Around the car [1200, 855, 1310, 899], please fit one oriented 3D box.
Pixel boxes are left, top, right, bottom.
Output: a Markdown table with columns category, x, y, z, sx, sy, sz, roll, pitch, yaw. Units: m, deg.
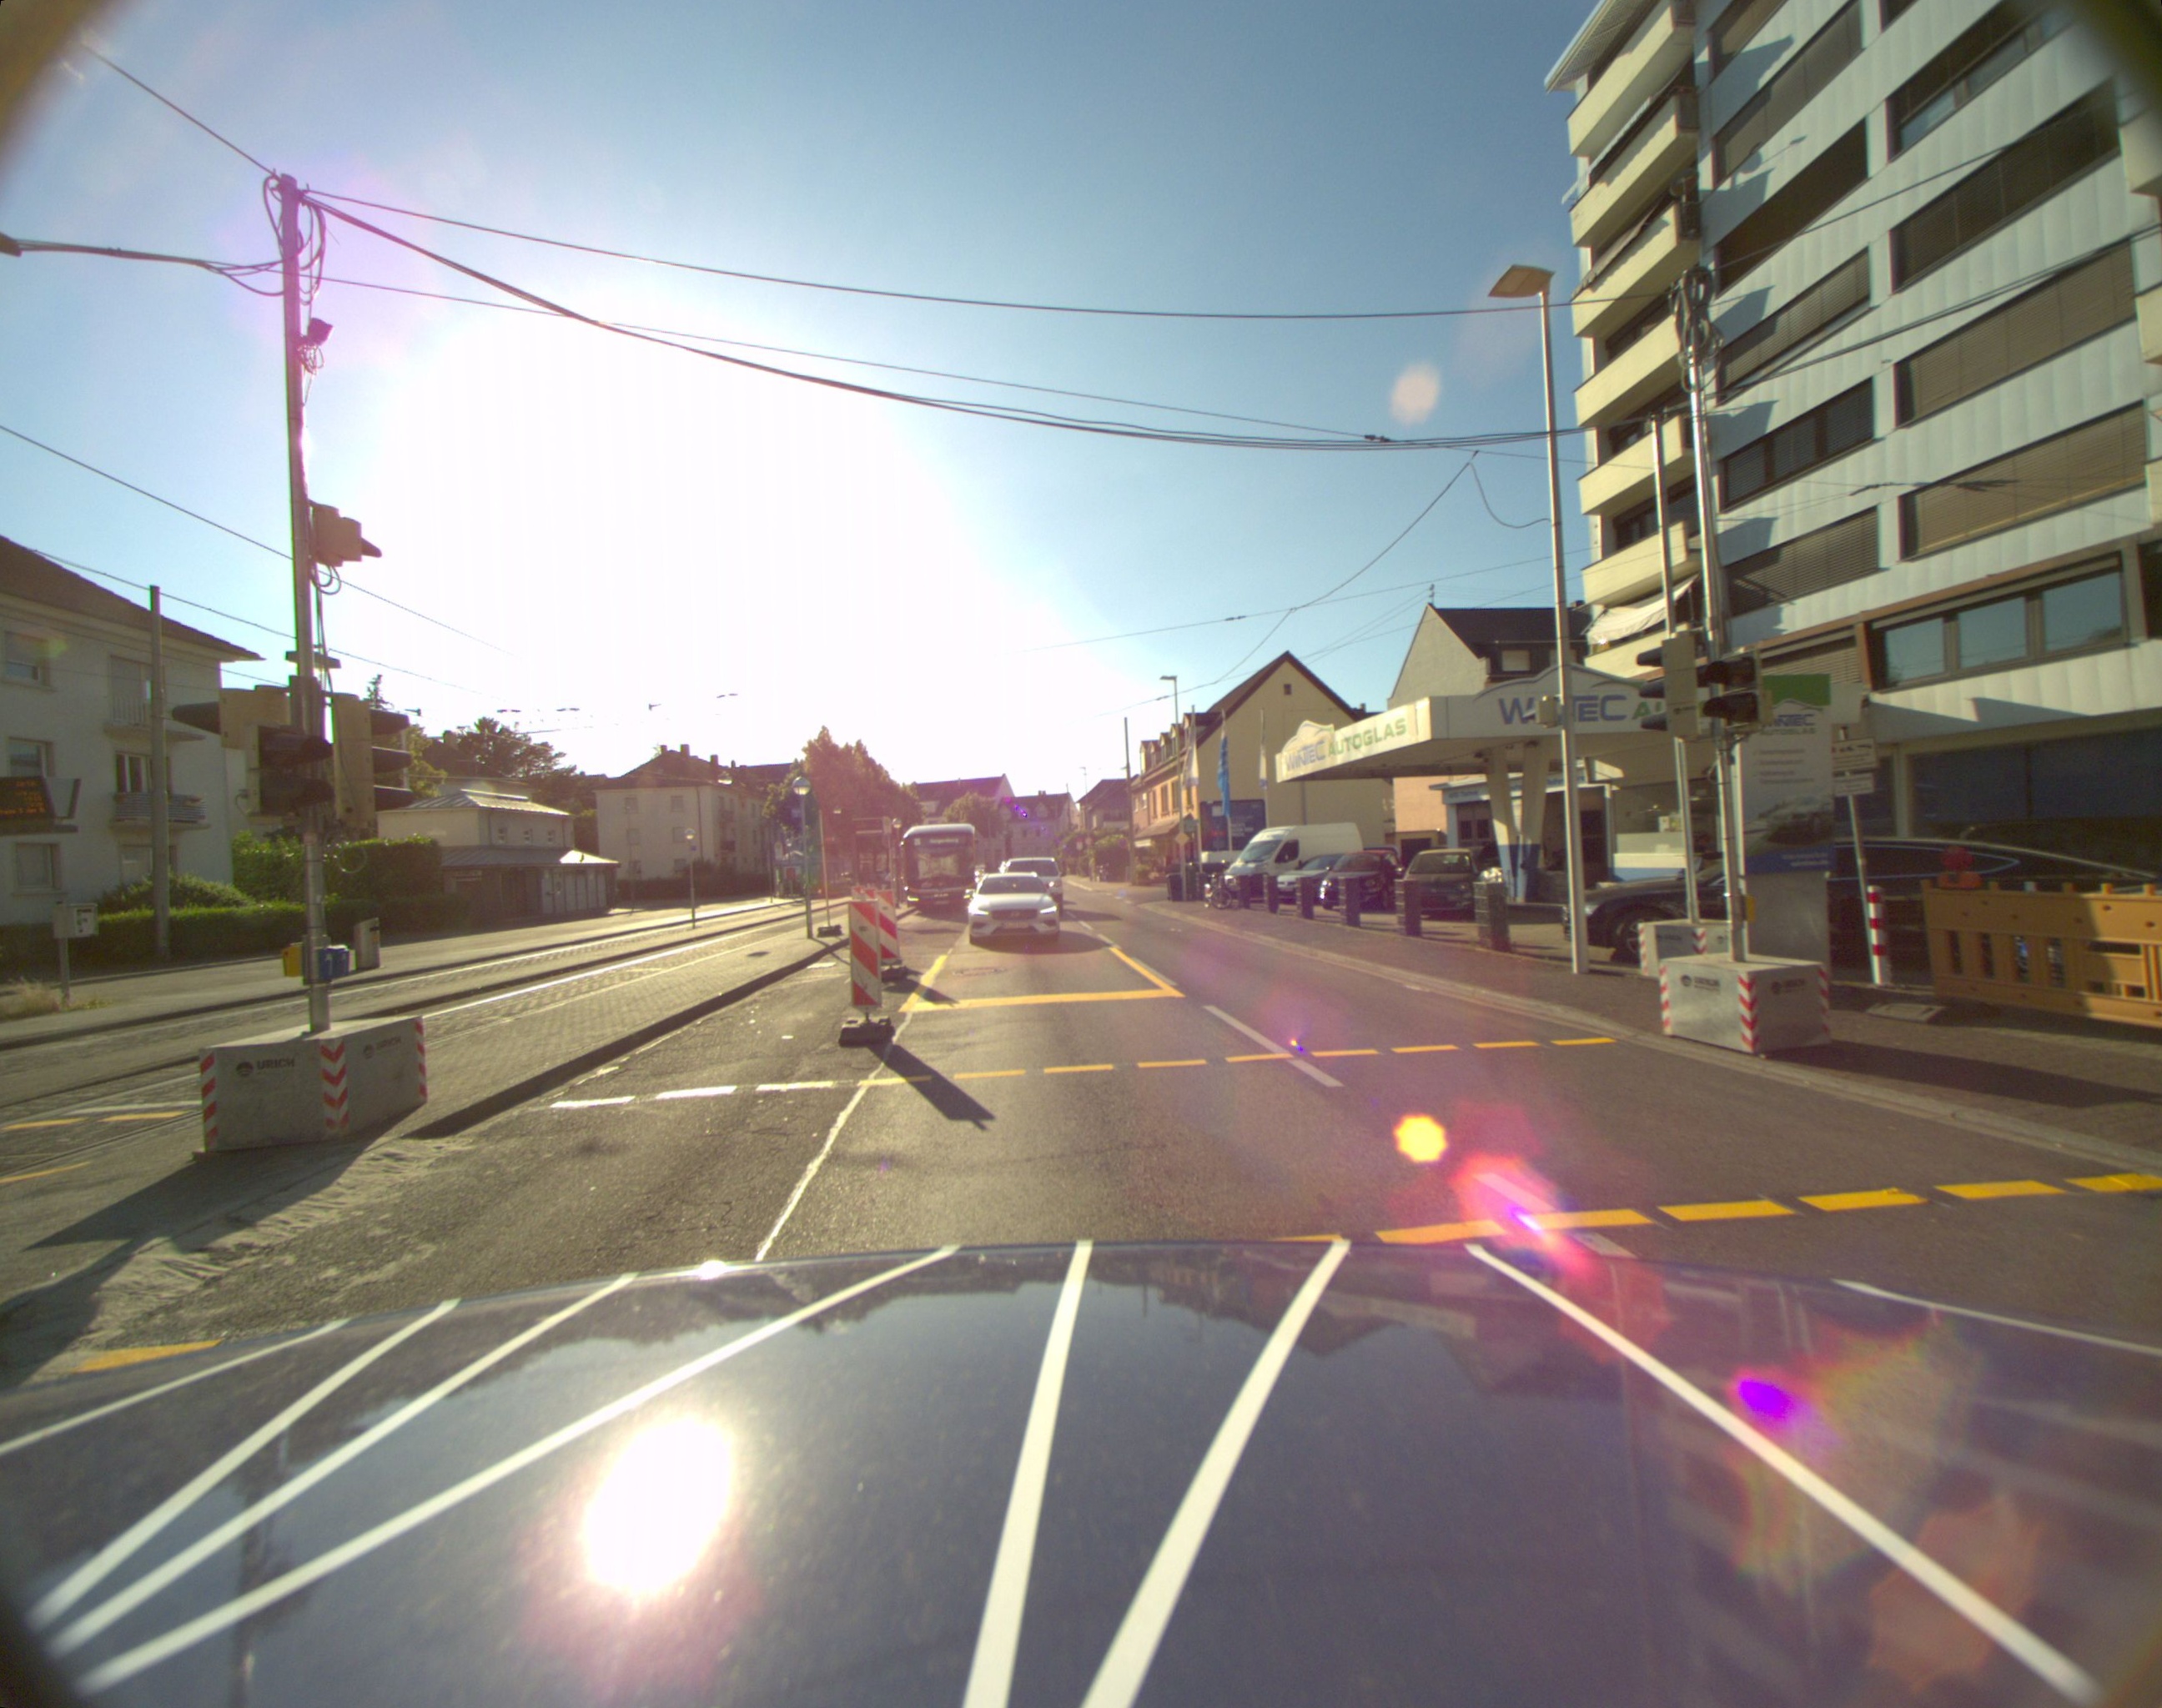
| category | x | y | z | sx | sy | sz | roll | pitch | yaw |
| --- | --- | --- | --- | --- | --- | --- | --- | --- | --- |
| car | 6.712 | 0.855 | 29.206 | 4.037 | 1.468 | 1.739 | -2 | 0 | -33 |

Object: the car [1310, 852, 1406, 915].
| category | x | y | z | sx | sy | sz | roll | pitch | yaw |
| --- | --- | --- | --- | --- | --- | --- | --- | --- | --- |
| car | 7.592 | 0.759 | 20.672 | 1.591 | 1.488 | 3.442 | -2 | 0 | 35 |

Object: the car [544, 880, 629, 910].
| category | x | y | z | sx | sy | sz | roll | pitch | yaw |
| --- | --- | --- | --- | --- | --- | --- | --- | --- | --- |
| car | -31.922 | 2.633 | 49.167 | 4.053 | 1.663 | 1.999 | -3 | 0 | -3 |

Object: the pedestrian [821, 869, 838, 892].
| category | x | y | z | sx | sy | sz | roll | pitch | yaw |
| --- | --- | --- | --- | --- | --- | --- | --- | --- | --- |
| pedestrian | -17.547 | 1.855 | 53.008 | 0.827 | 1.601 | 0.840 | -2 | 0 | -40 |

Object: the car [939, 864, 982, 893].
| category | x | y | z | sx | sy | sz | roll | pitch | yaw |
| --- | --- | --- | --- | --- | --- | --- | --- | --- | --- |
| car | -6.691 | 1.331 | 42.797 | 1.970 | 1.450 | 4.823 | -2 | 0 | -4 |

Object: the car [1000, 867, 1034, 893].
| category | x | y | z | sx | sy | sz | roll | pitch | yaw |
| --- | --- | --- | --- | --- | --- | --- | --- | --- | --- |
| car | -4.027 | 1.573 | 47.859 | 1.970 | 1.450 | 4.823 | -2 | 0 | -4 |

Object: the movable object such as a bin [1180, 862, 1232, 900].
| category | x | y | z | sx | sy | sz | roll | pitch | yaw |
| --- | --- | --- | --- | --- | --- | --- | --- | --- | --- |
| movable object such as a bin | 5.147 | 1.084 | 31.236 | 1.798 | 1.455 | 1.046 | -2 | 0 | -30 |

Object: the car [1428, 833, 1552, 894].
| category | x | y | z | sx | sy | sz | roll | pitch | yaw |
| --- | --- | --- | --- | --- | --- | --- | --- | --- | --- |
| car | 14.449 | 0.319 | 27.145 | 1.742 | 1.932 | 4.256 | -2 | 0 | -6 |

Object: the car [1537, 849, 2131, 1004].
| category | x | y | z | sx | sy | sz | roll | pitch | yaw |
| --- | --- | --- | --- | --- | --- | --- | --- | --- | --- |
| car | 8.335 | 0.718 | 9.156 | 4.676 | 1.429 | 1.936 | -2 | 0 | 36 |

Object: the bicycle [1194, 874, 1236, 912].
| category | x | y | z | sx | sy | sz | roll | pitch | yaw |
| --- | --- | --- | --- | --- | --- | --- | --- | --- | --- |
| bicycle | 4.124 | 1.187 | 23.512 | 0.725 | 1.080 | 1.791 | -3 | 0 | -8 |

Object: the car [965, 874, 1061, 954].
| category | x | y | z | sx | sy | sz | roll | pitch | yaw |
| --- | --- | --- | --- | --- | --- | --- | --- | --- | --- |
| car | -1.492 | 1.221 | 16.946 | 1.821 | 1.445 | 4.216 | -2 | 0 | -4 |

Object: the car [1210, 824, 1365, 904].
| category | x | y | z | sx | sy | sz | roll | pitch | yaw |
| --- | --- | --- | --- | --- | --- | --- | --- | --- | --- |
| car | 7.159 | 0.301 | 26.257 | 4.998 | 2.440 | 2.111 | -2 | 0 | -27 |

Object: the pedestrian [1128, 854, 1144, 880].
| category | x | y | z | sx | sy | sz | roll | pitch | yaw |
| --- | --- | --- | --- | --- | --- | --- | --- | --- | --- |
| pedestrian | 3.567 | 0.843 | 49.362 | 0.810 | 1.703 | 0.859 | -2 | 0 | -10 |

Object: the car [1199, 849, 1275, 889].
| category | x | y | z | sx | sy | sz | roll | pitch | yaw |
| --- | --- | --- | --- | --- | --- | --- | --- | --- | --- |
| car | 8.297 | 0.773 | 40.570 | 3.674 | 2.002 | 1.451 | -2 | 0 | -8 |

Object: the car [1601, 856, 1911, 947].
| category | x | y | z | sx | sy | sz | roll | pitch | yaw |
| --- | --- | --- | --- | --- | --- | --- | --- | --- | --- |
| car | 11.225 | 0.710 | 13.049 | 1.525 | 1.290 | 3.902 | -1 | 0 | -9 |

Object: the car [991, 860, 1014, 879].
| category | x | y | z | sx | sy | sz | roll | pitch | yaw |
| --- | --- | --- | --- | --- | --- | --- | --- | --- | --- |
| car | -7.481 | 1.478 | 72.674 | 1.970 | 1.694 | 4.823 | -2 | 0 | -4 |

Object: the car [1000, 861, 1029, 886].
| category | x | y | z | sx | sy | sz | roll | pitch | yaw |
| --- | --- | --- | --- | --- | --- | --- | --- | --- | --- |
| car | -4.791 | 1.362 | 55.299 | 1.970 | 1.694 | 4.823 | -2 | 0 | -4 |

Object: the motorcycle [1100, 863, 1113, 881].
| category | x | y | z | sx | sy | sz | roll | pitch | yaw |
| --- | --- | --- | --- | --- | --- | --- | --- | --- | --- |
| motorcycle | 1.826 | 1.279 | 54.229 | 0.708 | 1.210 | 2.185 | -2 | 0 | -2 |

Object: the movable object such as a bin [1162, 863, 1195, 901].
| category | x | y | z | sx | sy | sz | roll | pitch | yaw |
| --- | --- | --- | --- | --- | --- | --- | --- | --- | --- |
| movable object such as a bin | 3.881 | 1.121 | 30.154 | 1.046 | 1.455 | 0.797 | -2 | 0 | 27 |

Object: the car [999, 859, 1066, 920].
| category | x | y | z | sx | sy | sz | roll | pitch | yaw |
| --- | --- | --- | --- | --- | --- | --- | --- | --- | --- |
| car | -1.676 | 1.109 | 25.695 | 1.970 | 1.816 | 5.031 | -2 | 0 | -4 |

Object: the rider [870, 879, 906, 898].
| category | x | y | z | sx | sy | sz | roll | pitch | yaw |
| --- | --- | --- | --- | --- | --- | --- | --- | --- | --- |
| rider | -10.812 | 1.944 | 42.639 | 1.855 | 0.986 | 0.581 | -2 | 0 | 7 |

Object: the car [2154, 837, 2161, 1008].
| category | x | y | z | sx | sy | sz | roll | pitch | yaw |
| --- | --- | --- | --- | --- | --- | --- | --- | --- | --- |
| car | 10.354 | 0.528 | 4.759 | 3.874 | 1.429 | 1.599 | -2 | 0 | 29 |

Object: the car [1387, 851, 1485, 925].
| category | x | y | z | sx | sy | sz | roll | pitch | yaw |
| --- | --- | --- | --- | --- | --- | --- | --- | --- | --- |
| car | 8.292 | 0.736 | 17.599 | 1.538 | 1.478 | 3.379 | -2 | 0 | 33 |

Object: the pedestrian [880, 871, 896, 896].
| category | x | y | z | sx | sy | sz | roll | pitch | yaw |
| --- | --- | --- | --- | --- | --- | --- | --- | --- | --- |
| pedestrian | -10.814 | 1.642 | 42.628 | 0.658 | 1.373 | 0.581 | -2 | 0 | 7 |

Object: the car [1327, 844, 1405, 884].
| category | x | y | z | sx | sy | sz | roll | pitch | yaw |
| --- | --- | --- | --- | --- | --- | --- | --- | --- | --- |
| car | 15.526 | 0.547 | 41.404 | 3.674 | 2.002 | 1.451 | -2 | 0 | -8 |

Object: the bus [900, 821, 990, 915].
| category | x | y | z | sx | sy | sz | roll | pitch | yaw |
| --- | --- | --- | --- | --- | --- | --- | --- | --- | --- |
| bus | -5.587 | 0.570 | 33.204 | 2.750 | 3.283 | 12.027 | -2 | 0 | -5 |

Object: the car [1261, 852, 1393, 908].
| category | x | y | z | sx | sy | sz | roll | pitch | yaw |
| --- | --- | --- | --- | --- | --- | --- | --- | --- | --- |
| car | 7.731 | 0.757 | 23.742 | 4.037 | 1.488 | 1.739 | -2 | 0 | -33 |
